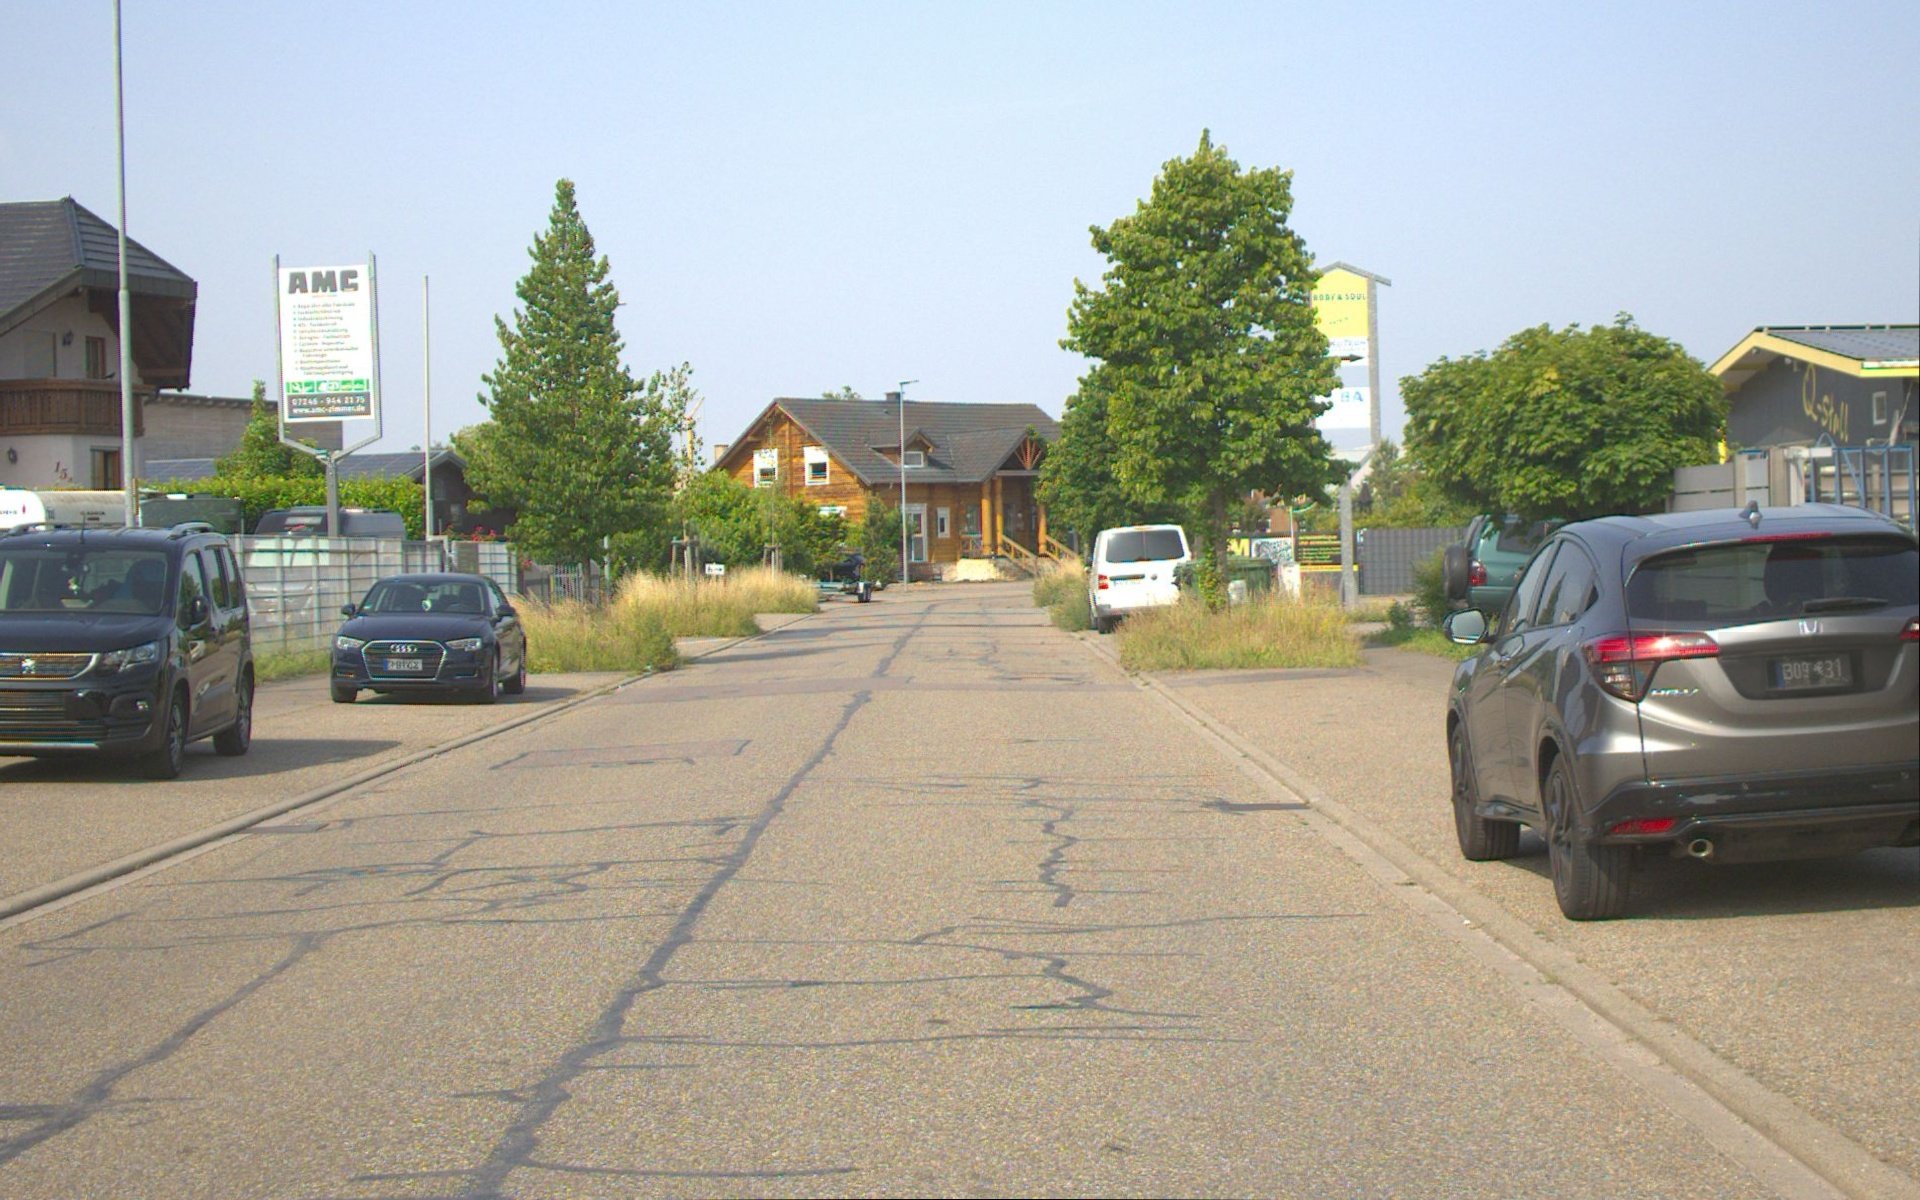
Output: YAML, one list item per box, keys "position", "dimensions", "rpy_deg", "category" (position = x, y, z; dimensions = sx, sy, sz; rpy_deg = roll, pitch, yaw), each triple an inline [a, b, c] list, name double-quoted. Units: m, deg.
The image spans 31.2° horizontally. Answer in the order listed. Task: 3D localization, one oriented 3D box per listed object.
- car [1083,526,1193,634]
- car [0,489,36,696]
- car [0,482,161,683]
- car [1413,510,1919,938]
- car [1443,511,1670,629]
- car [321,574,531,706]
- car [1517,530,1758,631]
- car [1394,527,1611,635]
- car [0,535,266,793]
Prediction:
- position: [3.311, -0.388, 64.676]
  dimensions: [1.837, 1.917, 3.756]
  rpy_deg: [-2, 1, 0]
  category: "car"
- position: [-14.348, -0.011, 43.290]
  dimensions: [4.808, 2.577, 2.143]
  rpy_deg: [-2, 1, 21]
  category: "car"
- position: [-13.807, -0.189, 46.607]
  dimensions: [5.162, 2.577, 2.574]
  rpy_deg: [-2, 1, 21]
  category: "car"
- position: [3.159, 0.423, 14.809]
  dimensions: [1.794, 1.555, 4.000]
  rpy_deg: [-2, 1, -1]
  category: "car"
- position: [8.602, -0.439, 49.702]
  dimensions: [3.144, 1.574, 1.392]
  rpy_deg: [-2, 1, 9]
  category: "car"
- position: [-5.932, 0.412, 38.546]
  dimensions: [1.800, 1.382, 3.638]
  rpy_deg: [0, 1, 0]
  category: "car"
- position: [9.280, -0.277, 47.257]
  dimensions: [3.144, 1.262, 1.392]
  rpy_deg: [-2, 1, 9]
  category: "car"
- position: [8.158, -0.295, 51.733]
  dimensions: [3.144, 1.516, 1.392]
  rpy_deg: [-2, 1, 9]
  category: "car"
- position: [-6.496, 0.406, 25.673]
  dimensions: [1.800, 1.768, 4.203]
  rpy_deg: [0, 1, 0]
  category: "car"
